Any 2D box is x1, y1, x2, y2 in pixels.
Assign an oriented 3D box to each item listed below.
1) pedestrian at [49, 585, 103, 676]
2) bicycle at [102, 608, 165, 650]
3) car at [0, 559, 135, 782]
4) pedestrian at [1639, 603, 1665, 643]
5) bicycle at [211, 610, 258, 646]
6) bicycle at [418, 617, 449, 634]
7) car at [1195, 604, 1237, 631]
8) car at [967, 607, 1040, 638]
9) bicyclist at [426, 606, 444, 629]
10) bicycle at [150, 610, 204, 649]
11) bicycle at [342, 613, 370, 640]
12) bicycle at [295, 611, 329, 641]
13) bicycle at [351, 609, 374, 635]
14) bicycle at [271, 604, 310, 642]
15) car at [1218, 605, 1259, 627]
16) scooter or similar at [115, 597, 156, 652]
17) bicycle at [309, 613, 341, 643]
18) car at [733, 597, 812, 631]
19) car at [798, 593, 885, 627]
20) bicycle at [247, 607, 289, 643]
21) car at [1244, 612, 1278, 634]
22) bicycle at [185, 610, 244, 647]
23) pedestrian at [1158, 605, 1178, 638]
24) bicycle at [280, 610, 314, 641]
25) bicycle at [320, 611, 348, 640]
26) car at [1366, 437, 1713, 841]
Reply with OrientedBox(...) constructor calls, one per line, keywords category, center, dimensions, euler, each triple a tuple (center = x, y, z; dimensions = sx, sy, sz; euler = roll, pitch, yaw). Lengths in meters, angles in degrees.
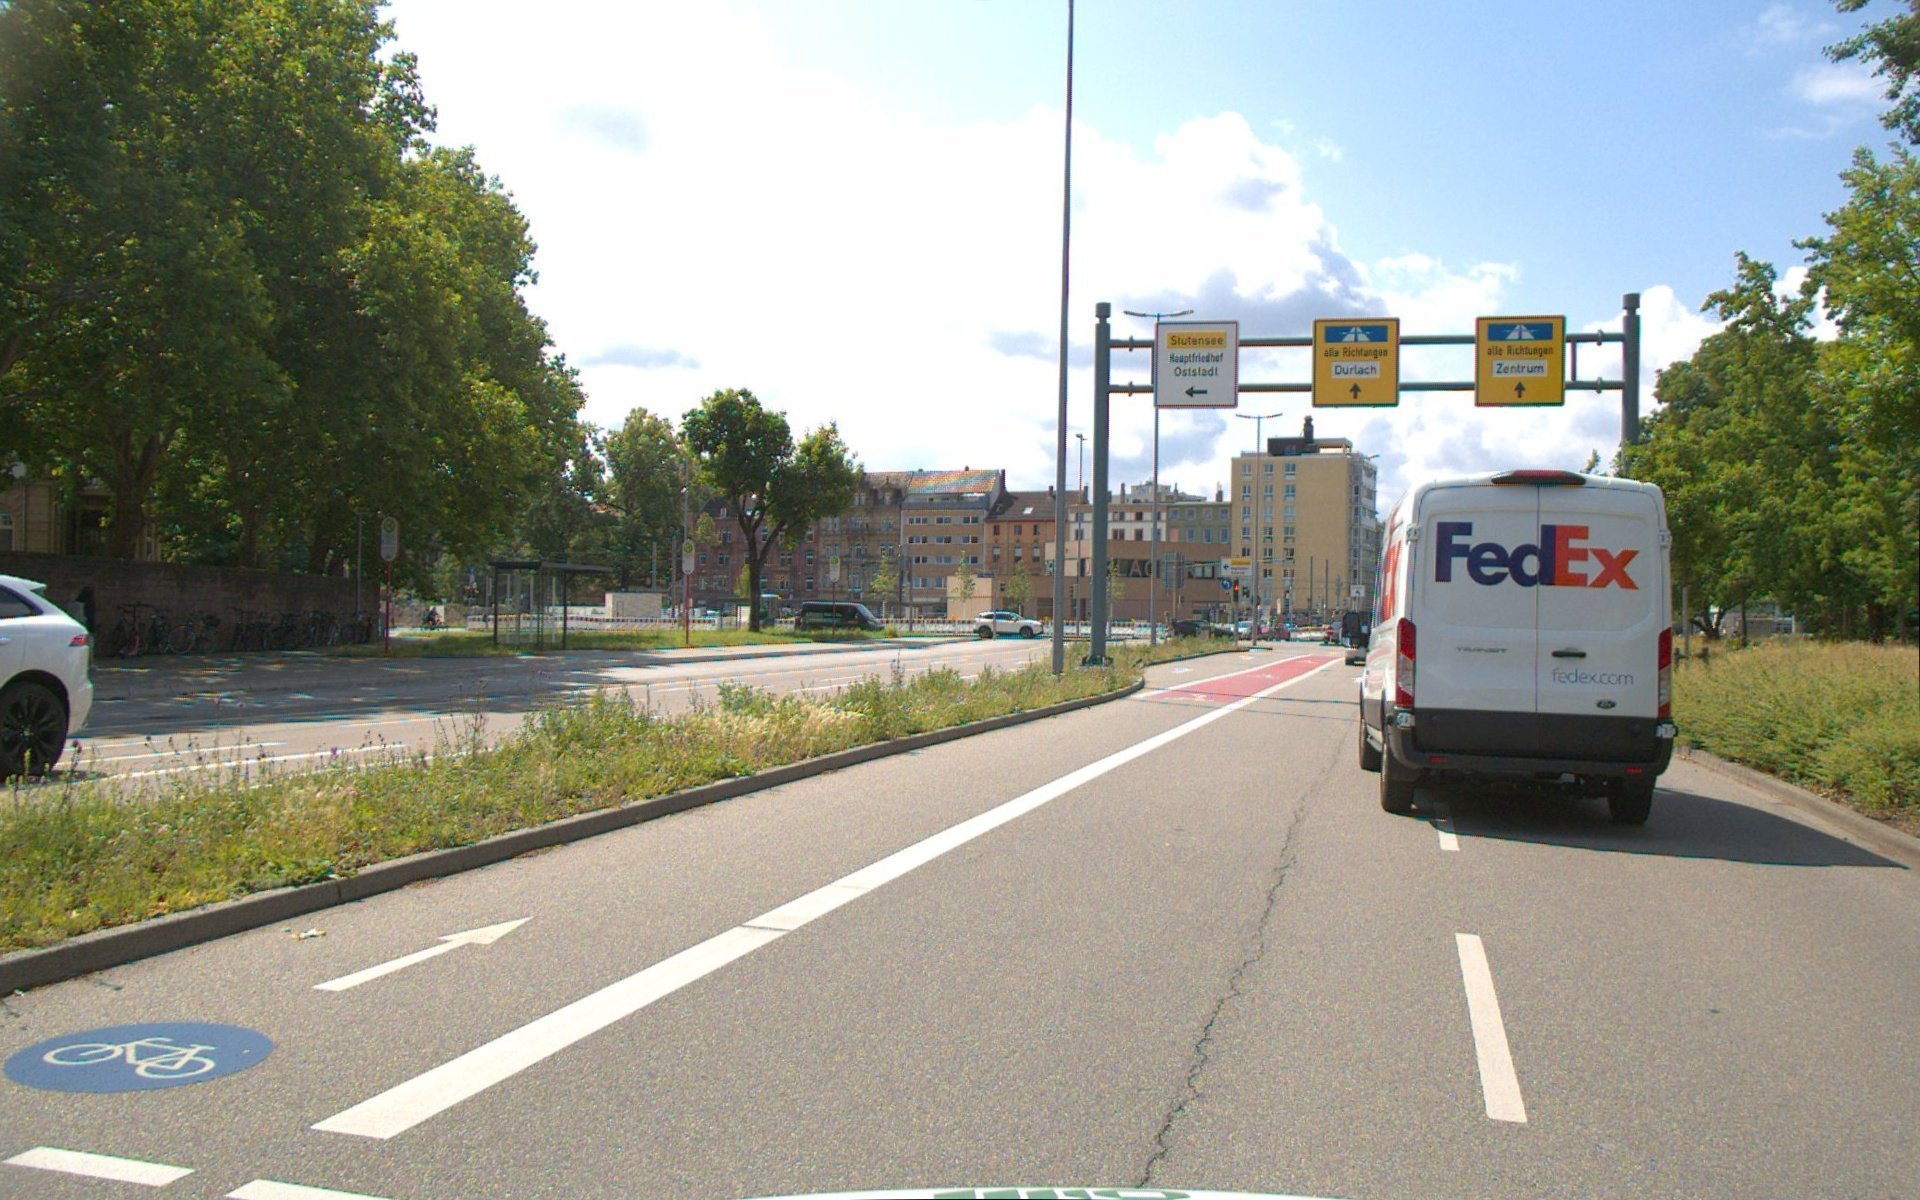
OrientedBox(category="pedestrian", center=(-16.424, 0.559, 30.750), dimensions=(0.603, 1.645, 0.756), euler=(2, -1, -7))
OrientedBox(category="bicycle", center=(-18.922, 0.656, 37.907), dimensions=(0.532, 0.918, 1.666), euler=(1, 0, 2))
OrientedBox(category="car", center=(-8.562, 0.524, 11.909), dimensions=(2.027, 1.696, 4.779), euler=(1, 0, 15))
OrientedBox(category="pedestrian", center=(27.462, 0.895, 65.670), dimensions=(0.827, 1.566, 0.835), euler=(1, 0, 14))
OrientedBox(category="bicycle", center=(-19.302, 0.740, 44.006), dimensions=(0.532, 0.918, 1.665), euler=(1, 0, -1))
OrientedBox(category="bicycle", center=(-34.172, 1.658, 107.359), dimensions=(1.879, 1.048, 0.548), euler=(1, 0, 7))
OrientedBox(category="car", center=(19.695, 1.342, 127.275), dimensions=(1.956, 2.049, 3.993), euler=(0, -1, 28))
OrientedBox(category="car", center=(2.709, 1.398, 102.519), dimensions=(4.264, 1.825, 2.002), euler=(1, -1, 10))
OrientedBox(category="bicyclist", center=(-34.096, 1.122, 107.344), dimensions=(0.947, 1.500, 0.552), euler=(1, 0, 7))
OrientedBox(category="bicycle", center=(-19.095, 0.713, 40.350), dimensions=(0.532, 0.918, 1.665), euler=(1, 0, -1))
OrientedBox(category="bicycle", center=(-21.443, 0.927, 58.741), dimensions=(0.533, 0.918, 1.663), euler=(1, 0, -6))
OrientedBox(category="bicycle", center=(-20.287, 0.799, 51.802), dimensions=(0.533, 0.918, 1.663), euler=(1, 0, -6))
OrientedBox(category="bicycle", center=(-21.950, 0.800, 60.761), dimensions=(0.534, 0.918, 1.661), euler=(1, 0, -11))
OrientedBox(category="bicycle", center=(-19.610, 0.670, 48.448), dimensions=(0.533, 1.070, 1.623), euler=(1, 0, -3))
OrientedBox(category="car", center=(21.035, 1.239, 124.880), dimensions=(1.865, 1.613, 3.994), euler=(0, -1, 28))
OrientedBox(category="scooter or similar", center=(-18.258, 0.533, 36.652), dimensions=(0.423, 1.204, 1.191), euler=(1, 0, -7))
OrientedBox(category="bicycle", center=(-20.528, 0.893, 53.480), dimensions=(0.533, 0.918, 1.663), euler=(1, 0, -6))
OrientedBox(category="car", center=(-11.920, 0.887, 105.114), dimensions=(4.529, 2.049, 2.101), euler=(1, -1, 10))
OrientedBox(category="car", center=(-7.091, 0.596, 99.168), dimensions=(4.901, 1.912, 1.930), euler=(1, 0, 11))
OrientedBox(category="bicycle", center=(-19.546, 0.698, 46.755), dimensions=(0.533, 0.968, 1.664), euler=(1, 0, -3))
OrientedBox(category="car", center=(23.805, 1.840, 130.544), dimensions=(1.840, 1.681, 3.999), euler=(0, -1, 22))
OrientedBox(category="bicycle", center=(-18.973, 0.714, 42.122), dimensions=(0.491, 0.918, 1.667), euler=(1, 0, 10))
OrientedBox(category="pedestrian", center=(10.129, 1.038, 80.497), dimensions=(0.857, 1.587, 0.554), euler=(1, 0, -11))
OrientedBox(category="bicycle", center=(-20.068, 0.769, 50.092), dimensions=(0.533, 0.918, 1.663), euler=(1, 0, -6))
OrientedBox(category="bicycle", center=(-20.890, 0.848, 55.227), dimensions=(0.443, 0.918, 1.792), euler=(1, 0, -6))
OrientedBox(category="car", center=(4.612, 0.257, 14.060), dimensions=(2.095, 2.699, 5.709), euler=(1, 0, 13))
